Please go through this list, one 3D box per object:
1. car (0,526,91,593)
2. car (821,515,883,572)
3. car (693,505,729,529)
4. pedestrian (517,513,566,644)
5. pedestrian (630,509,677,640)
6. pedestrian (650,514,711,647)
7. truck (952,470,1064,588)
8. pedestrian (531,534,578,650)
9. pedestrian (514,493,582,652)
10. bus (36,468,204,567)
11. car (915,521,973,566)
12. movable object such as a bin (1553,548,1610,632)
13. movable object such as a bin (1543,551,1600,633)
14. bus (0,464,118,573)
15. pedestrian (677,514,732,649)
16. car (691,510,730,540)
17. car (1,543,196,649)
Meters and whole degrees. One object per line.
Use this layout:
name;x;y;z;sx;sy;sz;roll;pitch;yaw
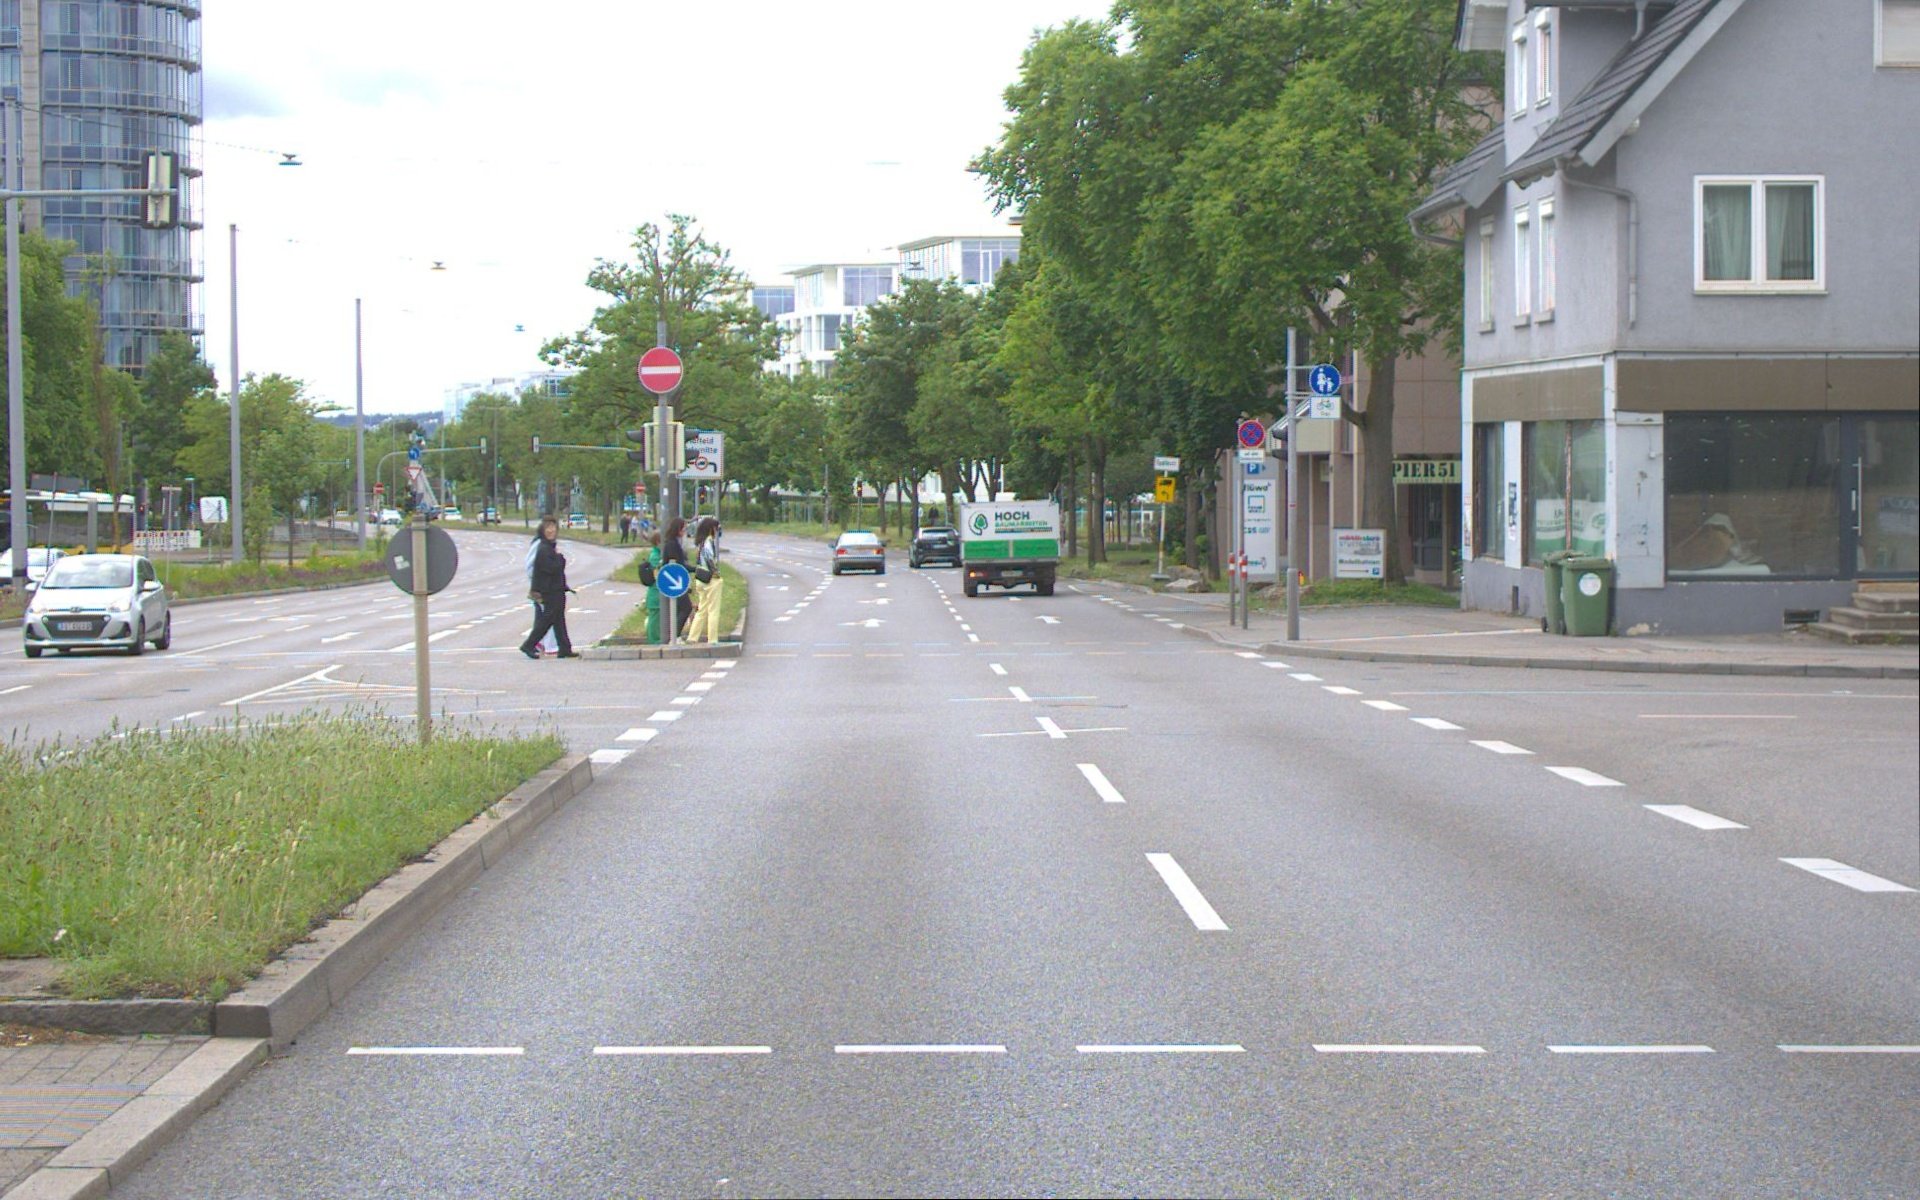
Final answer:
car;-23.341;-1.031;86.658;1.806;1.656;4.000;-1;1;1
car;-3.530;-1.876;113.104;1.993;1.824;4.000;0;1;-1
car;-16.172;-5.396;223.195;1.993;1.546;4.001;-1;1;-10
pedestrian;-5.529;-0.292;45.380;0.612;1.710;0.546;-1;1;-7
pedestrian;-4.046;-0.344;45.349;0.583;1.710;0.546;-1;1;-7
pedestrian;-3.624;-0.258;44.603;0.745;1.710;0.583;-1;1;-7
truck;1.112;-1.730;80.540;2.471;2.602;6.548;1;2;1
pedestrian;-5.282;-0.111;44.767;0.543;1.491;0.487;-1;1;-11
pedestrian;-5.250;-0.349;43.785;0.829;2.007;0.546;-1;1;-7
bus;-30.381;-2.969;124.835;2.832;3.419;10.732;-1;1;3
car;-0.591;-2.025;122.853;1.993;1.546;4.000;1;1;-1
movable object such as a bin;7.915;-0.130;43.799;0.604;1.056;0.589;1;1;1
movable object such as a bin;7.921;-0.103;44.538;0.616;1.039;0.589;1;1;1
bus;-30.993;-2.669;114.097;2.832;3.419;10.732;-1;1;3
pedestrian;-3.272;-0.244;43.971;0.653;1.710;0.452;-1;1;-7
car;-12.789;-3.849;176.146;1.993;1.514;4.001;-1;1;-4
car;-12.708;-0.094;50.961;1.993;1.481;4.000;-1;1;-2
